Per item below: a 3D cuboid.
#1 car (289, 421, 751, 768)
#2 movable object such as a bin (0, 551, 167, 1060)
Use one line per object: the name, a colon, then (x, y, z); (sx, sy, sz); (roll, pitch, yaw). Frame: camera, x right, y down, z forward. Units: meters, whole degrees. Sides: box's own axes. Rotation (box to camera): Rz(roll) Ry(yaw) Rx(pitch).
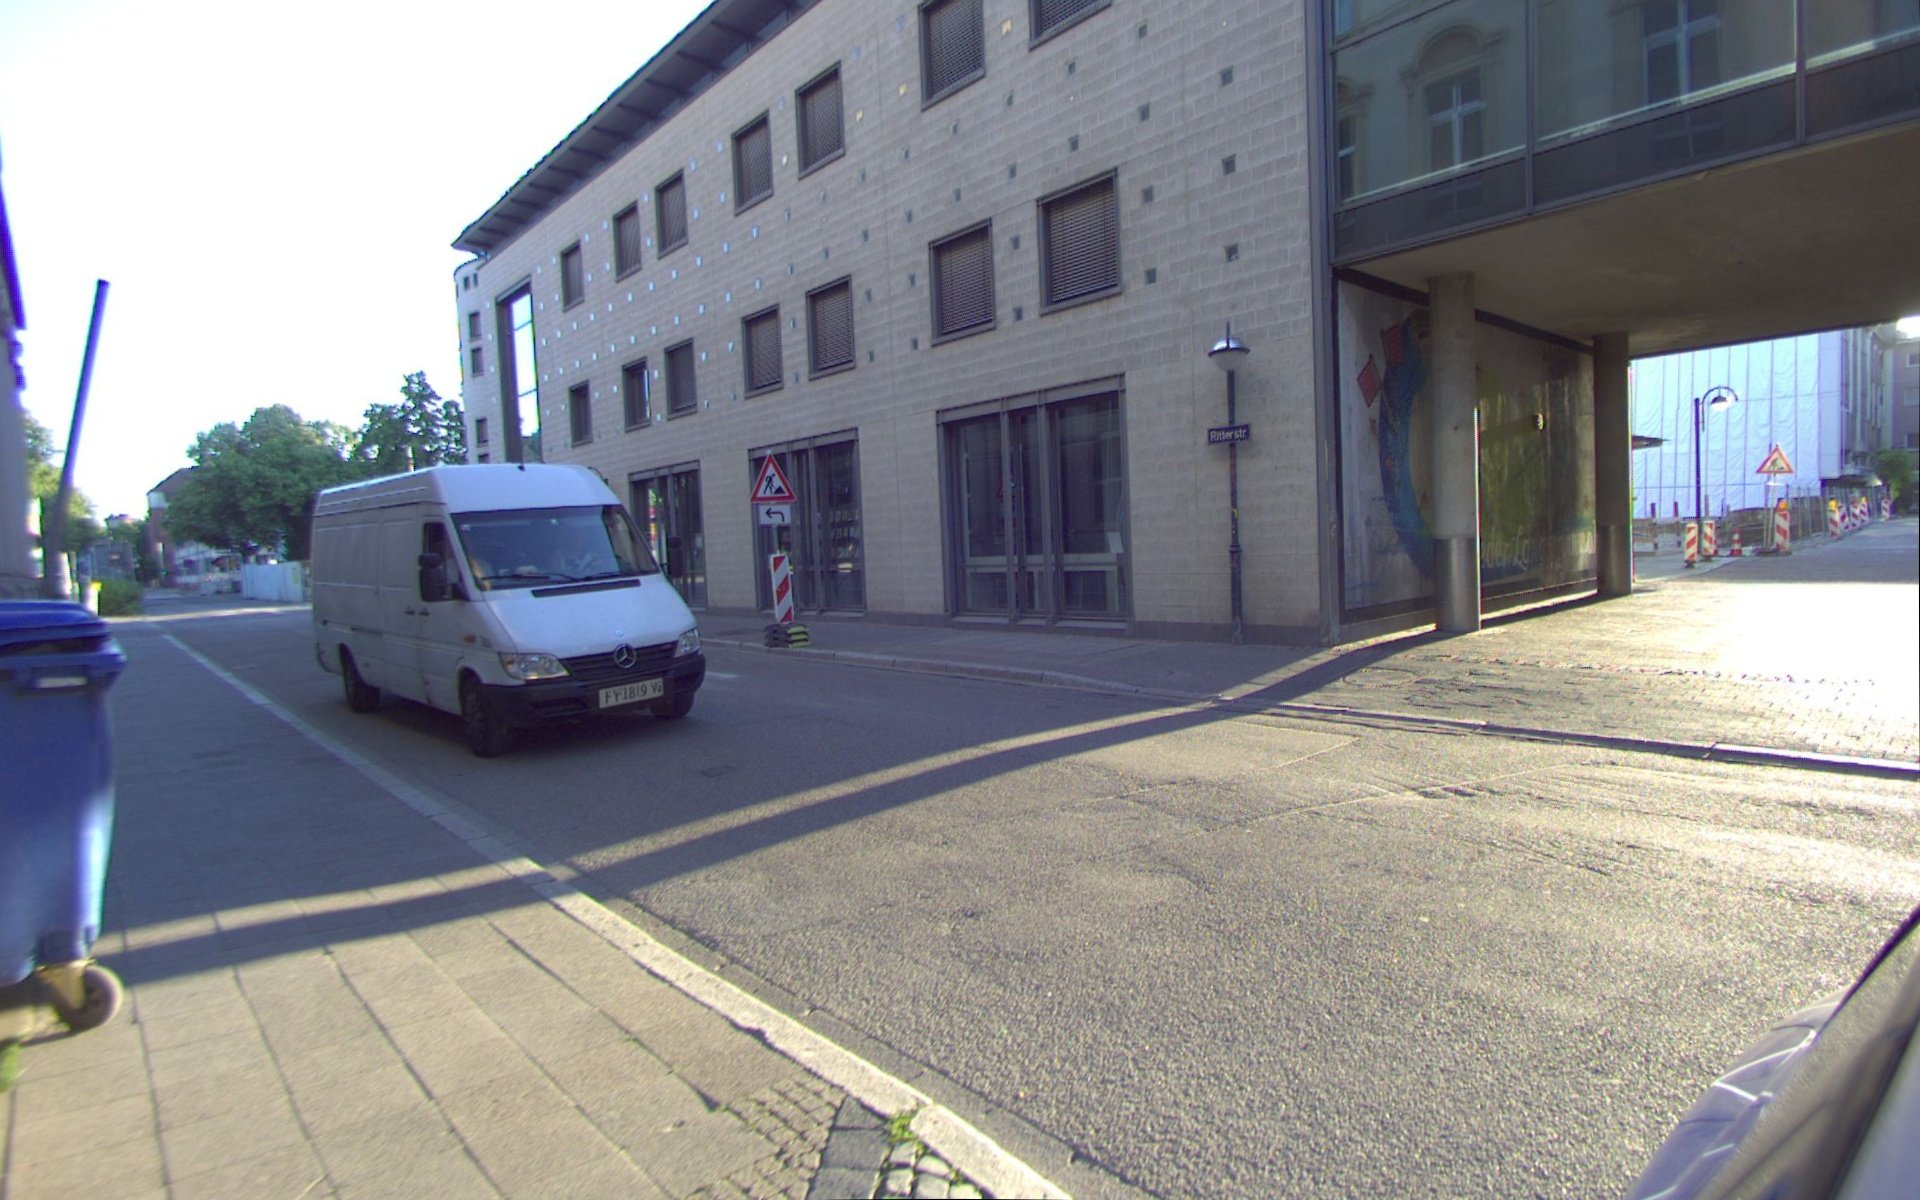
car: (-4.856, -0.184, 10.383); (1.972, 2.541, 6.452); (-8, 6, -44)
movable object such as a bin: (-3.314, 0.599, 3.329); (1.058, 1.493, 1.186); (-2, 2, -38)
